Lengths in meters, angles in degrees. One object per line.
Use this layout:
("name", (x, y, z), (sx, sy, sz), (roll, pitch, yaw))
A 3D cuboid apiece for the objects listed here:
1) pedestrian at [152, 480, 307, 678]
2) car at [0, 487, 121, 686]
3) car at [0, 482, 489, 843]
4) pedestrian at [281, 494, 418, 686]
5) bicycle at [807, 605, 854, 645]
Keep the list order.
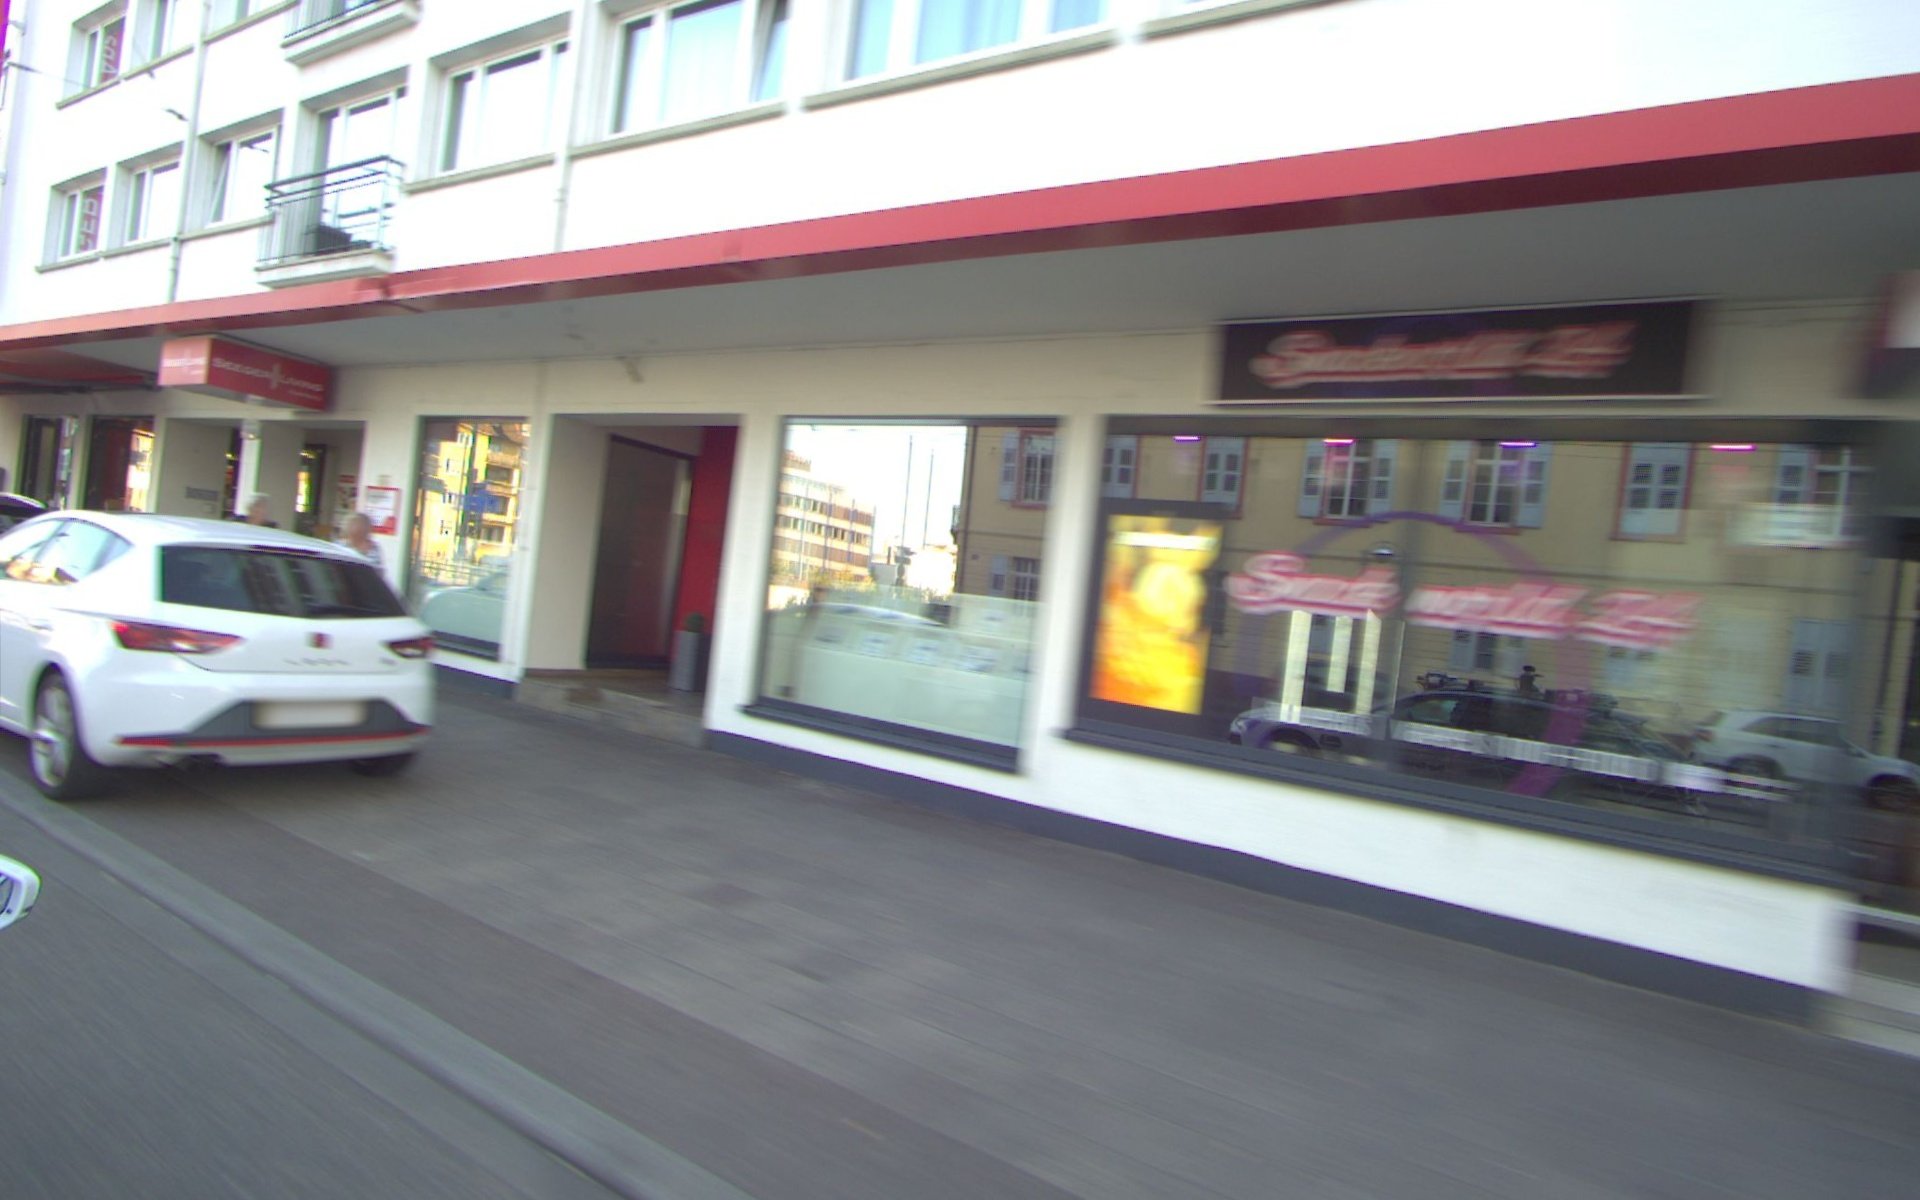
("pedestrian", (-6.928, -0.189, 9.551), (0.829, 1.740, 0.827), (7, 2, 32))
("car", (-9.434, -0.331, 8.873), (4.608, 1.531, 1.736), (7, 1, 32))
("car", (-4.976, 0.156, 6.226), (3.985, 1.531, 1.786), (7, 1, 32))
("pedestrian", (-6.013, -0.092, 9.916), (0.849, 1.764, 0.729), (7, 2, 32))
("bicycle", (-4.926, 0.924, 38.136), (0.698, 1.235, 2.092), (7, 1, -35))
